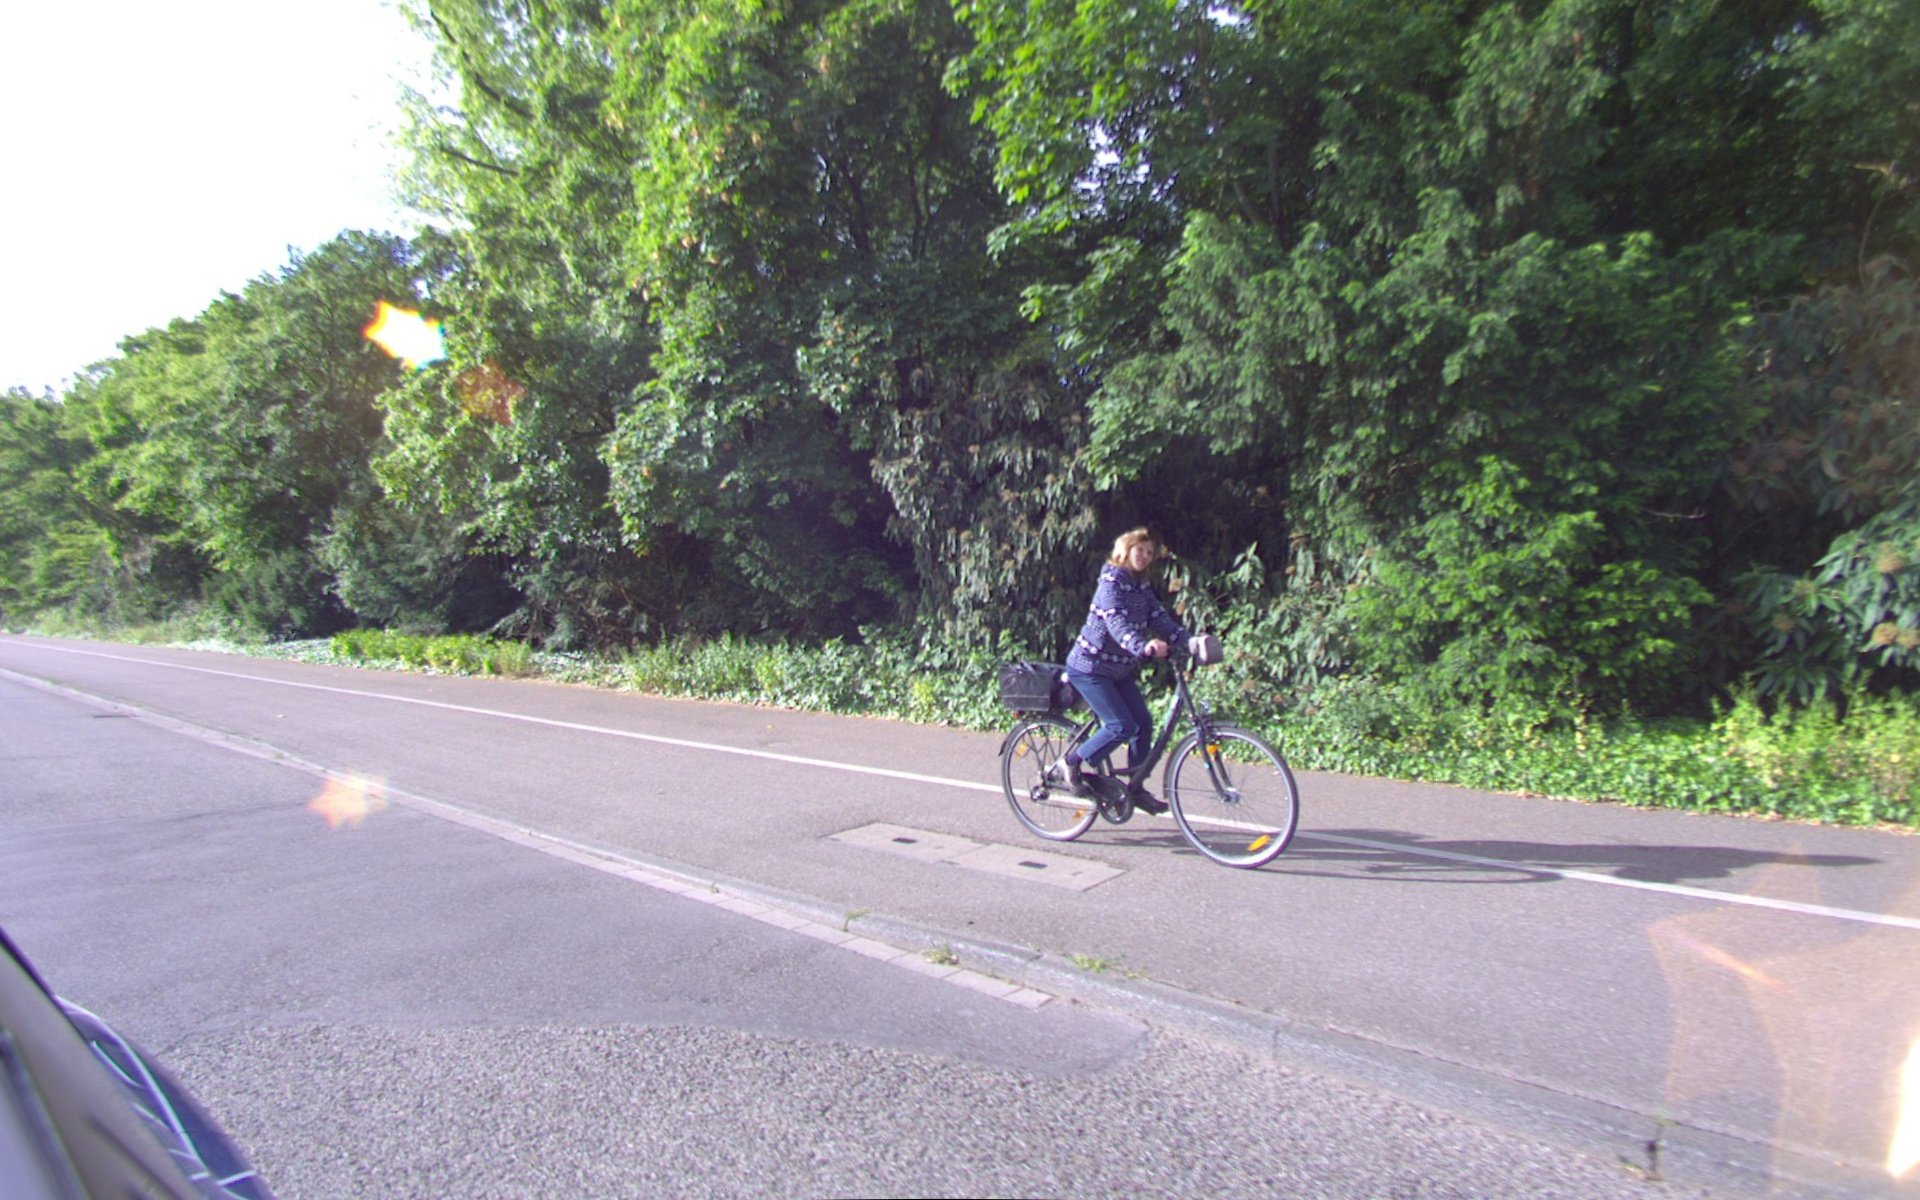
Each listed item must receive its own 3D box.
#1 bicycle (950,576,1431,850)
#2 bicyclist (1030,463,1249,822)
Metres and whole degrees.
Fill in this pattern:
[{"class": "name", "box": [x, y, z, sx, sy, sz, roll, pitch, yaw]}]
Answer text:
[{"class": "bicycle", "box": [1.057, 0.472, 5.175, 2.347, 1.105, 0.656, -1, 2, 42]}, {"class": "bicyclist", "box": [0.929, 0.191, 5.268, 0.883, 1.689, 0.602, -1, 3, 41]}]
